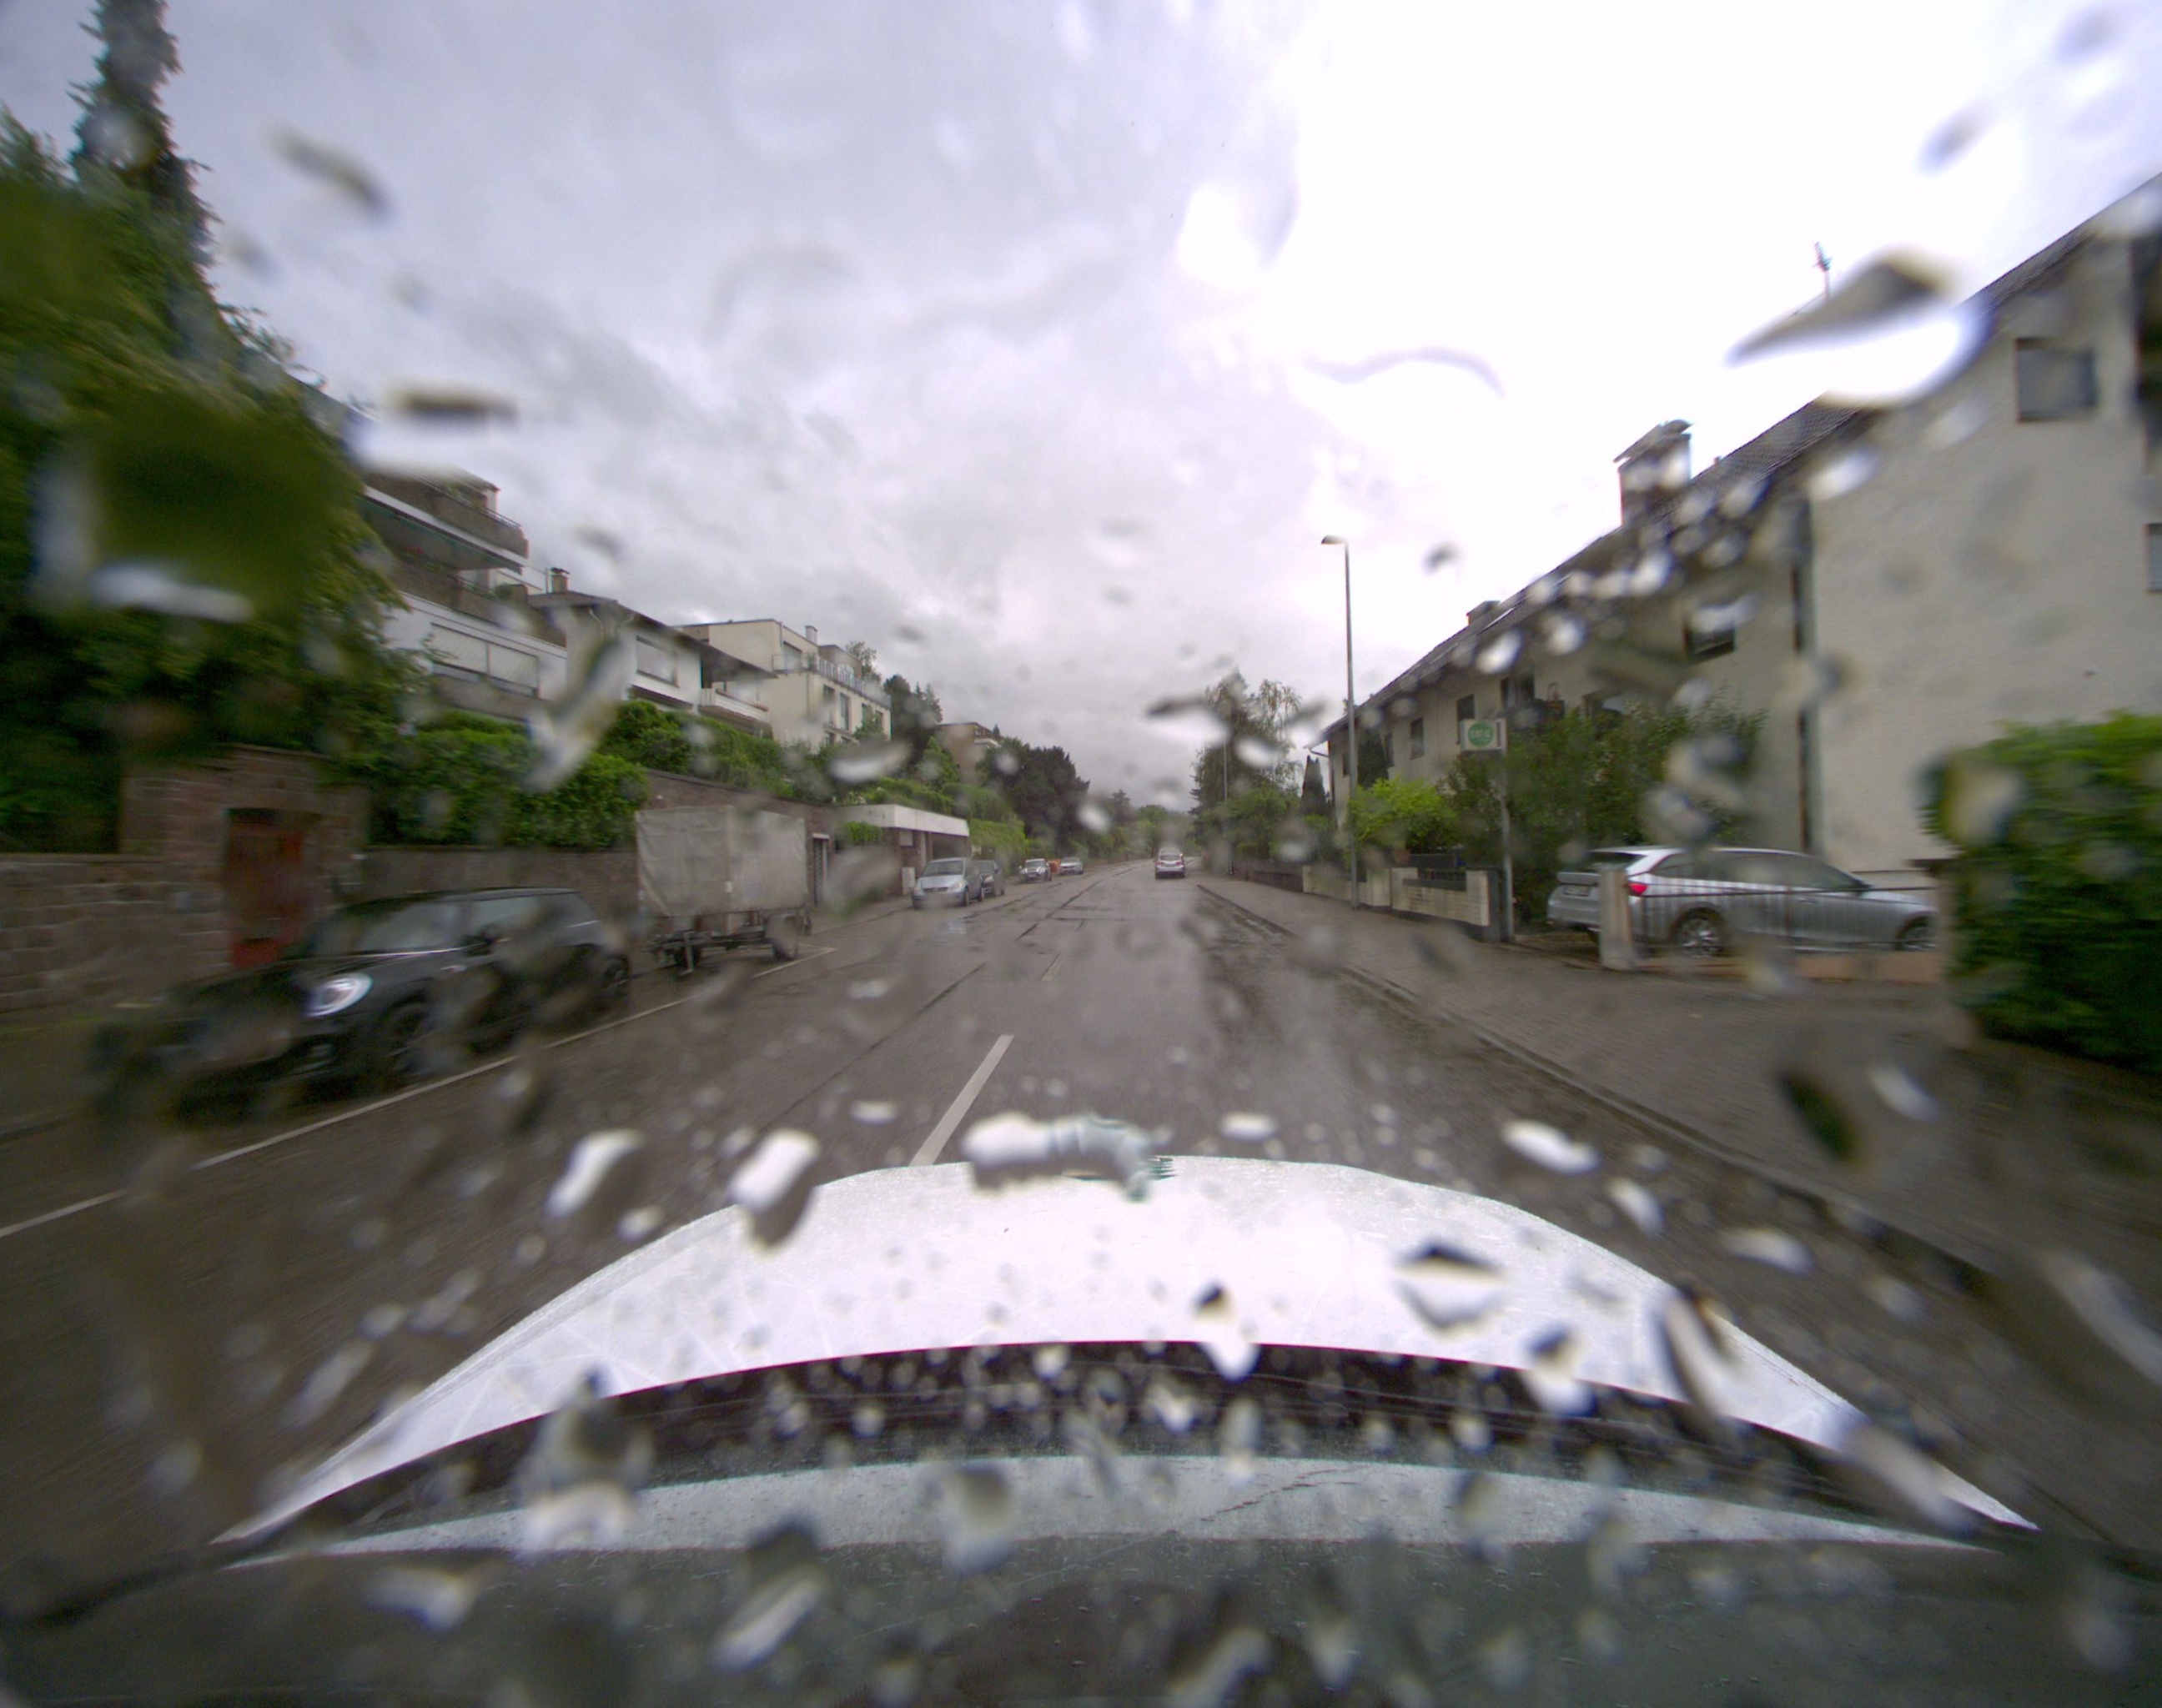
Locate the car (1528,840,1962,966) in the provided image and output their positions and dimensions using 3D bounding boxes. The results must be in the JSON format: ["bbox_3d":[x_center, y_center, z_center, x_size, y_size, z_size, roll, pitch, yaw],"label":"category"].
[{"bbox_3d":[8.312,0.575,10.483,4.207,1.446,1.702,1,0,0],"label":"car"}]

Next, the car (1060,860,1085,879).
[{"bbox_3d":[-0.699,1.304,69.217,1.748,1.498,4.224,-3,-1,4],"label":"car"}]

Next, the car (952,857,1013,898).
[{"bbox_3d":[-3.913,0.910,32.938,1.749,1.409,3.707,-4,0,3],"label":"car"}]

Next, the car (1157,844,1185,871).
[{"bbox_3d":[6.213,0.267,56.112,1.775,1.790,4.369,-1,-1,7],"label":"car"}]

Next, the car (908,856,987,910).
[{"bbox_3d":[-4.408,0.910,27.445,1.749,1.539,3.759,-4,0,3],"label":"car"}]

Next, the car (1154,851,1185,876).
[{"bbox_3d":[5.487,0.583,50.380,1.780,1.460,4.316,-1,-1,7],"label":"car"}]

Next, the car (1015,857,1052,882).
[{"bbox_3d":[-2.886,0.931,50.141,1.748,1.402,3.773,-4,-1,3],"label":"car"}]

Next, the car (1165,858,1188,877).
[{"bbox_3d":[7.291,1.037,62.112,1.700,1.403,4.211,-1,-1,7],"label":"car"}]

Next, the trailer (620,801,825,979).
[{"bbox_3d":[-5.490,0.507,12.884,1.529,2.399,3.077,-4,0,5],"label":"trailer"}]

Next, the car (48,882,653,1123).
[{"bbox_3d":[-5.753,1.033,7.189,1.801,1.349,3.777,-3,0,1],"label":"car"}]
